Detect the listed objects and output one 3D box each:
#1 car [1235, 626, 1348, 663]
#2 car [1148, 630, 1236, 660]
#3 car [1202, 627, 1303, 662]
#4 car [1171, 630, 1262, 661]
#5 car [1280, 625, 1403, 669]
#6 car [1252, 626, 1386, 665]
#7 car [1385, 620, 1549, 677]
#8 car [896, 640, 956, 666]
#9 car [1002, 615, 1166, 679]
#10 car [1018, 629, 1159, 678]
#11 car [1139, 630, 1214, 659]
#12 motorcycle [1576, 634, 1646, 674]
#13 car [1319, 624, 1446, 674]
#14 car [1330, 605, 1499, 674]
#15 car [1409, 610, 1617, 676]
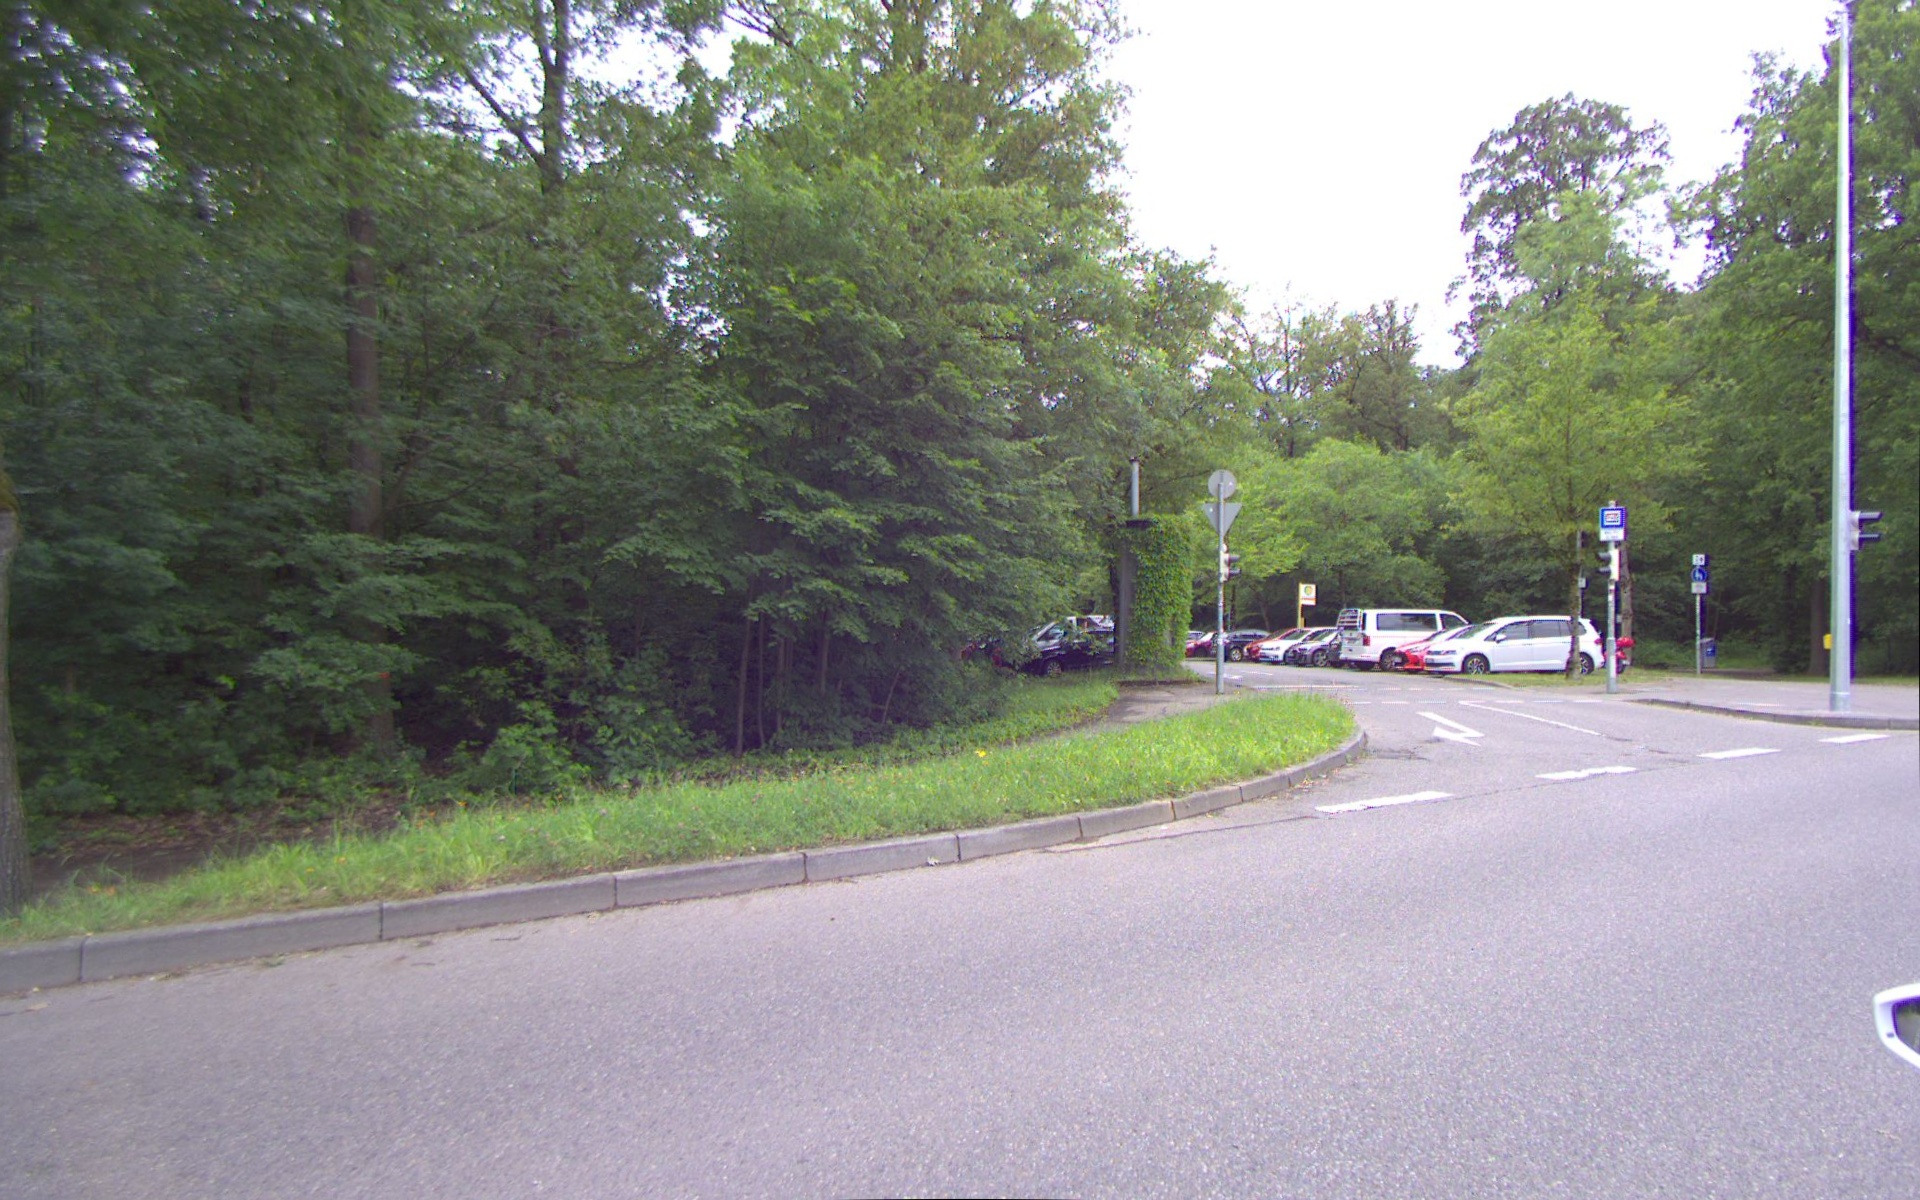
[{"bbox_3d":[14.072,1.885,42.728,4.164,1.500,1.917,0,-3,-8],"label":"car"},{"bbox_3d":[12.184,2.379,52.833,4.065,1.480,1.862,0,-3,-10],"label":"car"},{"bbox_3d":[13.137,2.014,45.184,3.926,1.502,1.920,0,-2,-8],"label":"car"},{"bbox_3d":[12.812,2.267,50.239,3.930,1.468,1.937,0,-2,-12],"label":"car"},{"bbox_3d":[14.267,1.790,37.661,3.925,1.502,1.876,2,-3,-6],"label":"car"},{"bbox_3d":[14.262,1.805,40.035,4.696,1.495,1.852,0,-2,-5],"label":"car"},{"bbox_3d":[15.054,1.431,29.982,3.930,1.576,1.947,1,-1,2],"label":"car"},{"bbox_3d":[-2.358,3.633,68.979,3.900,1.649,1.996,-1,-2,-8],"label":"car"},{"bbox_3d":[3.978,1.508,32.687,5.004,1.940,1.978,-1,-2,-3],"label":"car"},{"bbox_3d":[3.761,1.566,29.831,3.923,1.397,1.722,0,-2,-4],"label":"car"},{"bbox_3d":[11.878,2.445,55.195,3.648,1.530,1.748,0,-3,-12],"label":"car"},{"bbox_3d":[20.555,1.690,31.754,0.665,1.176,2.008,0,-1,-10],"label":"motorcycle"},{"bbox_3d":[14.836,1.695,35.374,3.664,1.575,1.844,2,0,-6],"label":"car"},{"bbox_3d":[14.770,1.282,32.802,4.575,2.048,2.082,2,-1,-4],"label":"car"},{"bbox_3d":[15.023,1.180,27.503,4.445,1.715,2.166,0,-3,1],"label":"car"}]
